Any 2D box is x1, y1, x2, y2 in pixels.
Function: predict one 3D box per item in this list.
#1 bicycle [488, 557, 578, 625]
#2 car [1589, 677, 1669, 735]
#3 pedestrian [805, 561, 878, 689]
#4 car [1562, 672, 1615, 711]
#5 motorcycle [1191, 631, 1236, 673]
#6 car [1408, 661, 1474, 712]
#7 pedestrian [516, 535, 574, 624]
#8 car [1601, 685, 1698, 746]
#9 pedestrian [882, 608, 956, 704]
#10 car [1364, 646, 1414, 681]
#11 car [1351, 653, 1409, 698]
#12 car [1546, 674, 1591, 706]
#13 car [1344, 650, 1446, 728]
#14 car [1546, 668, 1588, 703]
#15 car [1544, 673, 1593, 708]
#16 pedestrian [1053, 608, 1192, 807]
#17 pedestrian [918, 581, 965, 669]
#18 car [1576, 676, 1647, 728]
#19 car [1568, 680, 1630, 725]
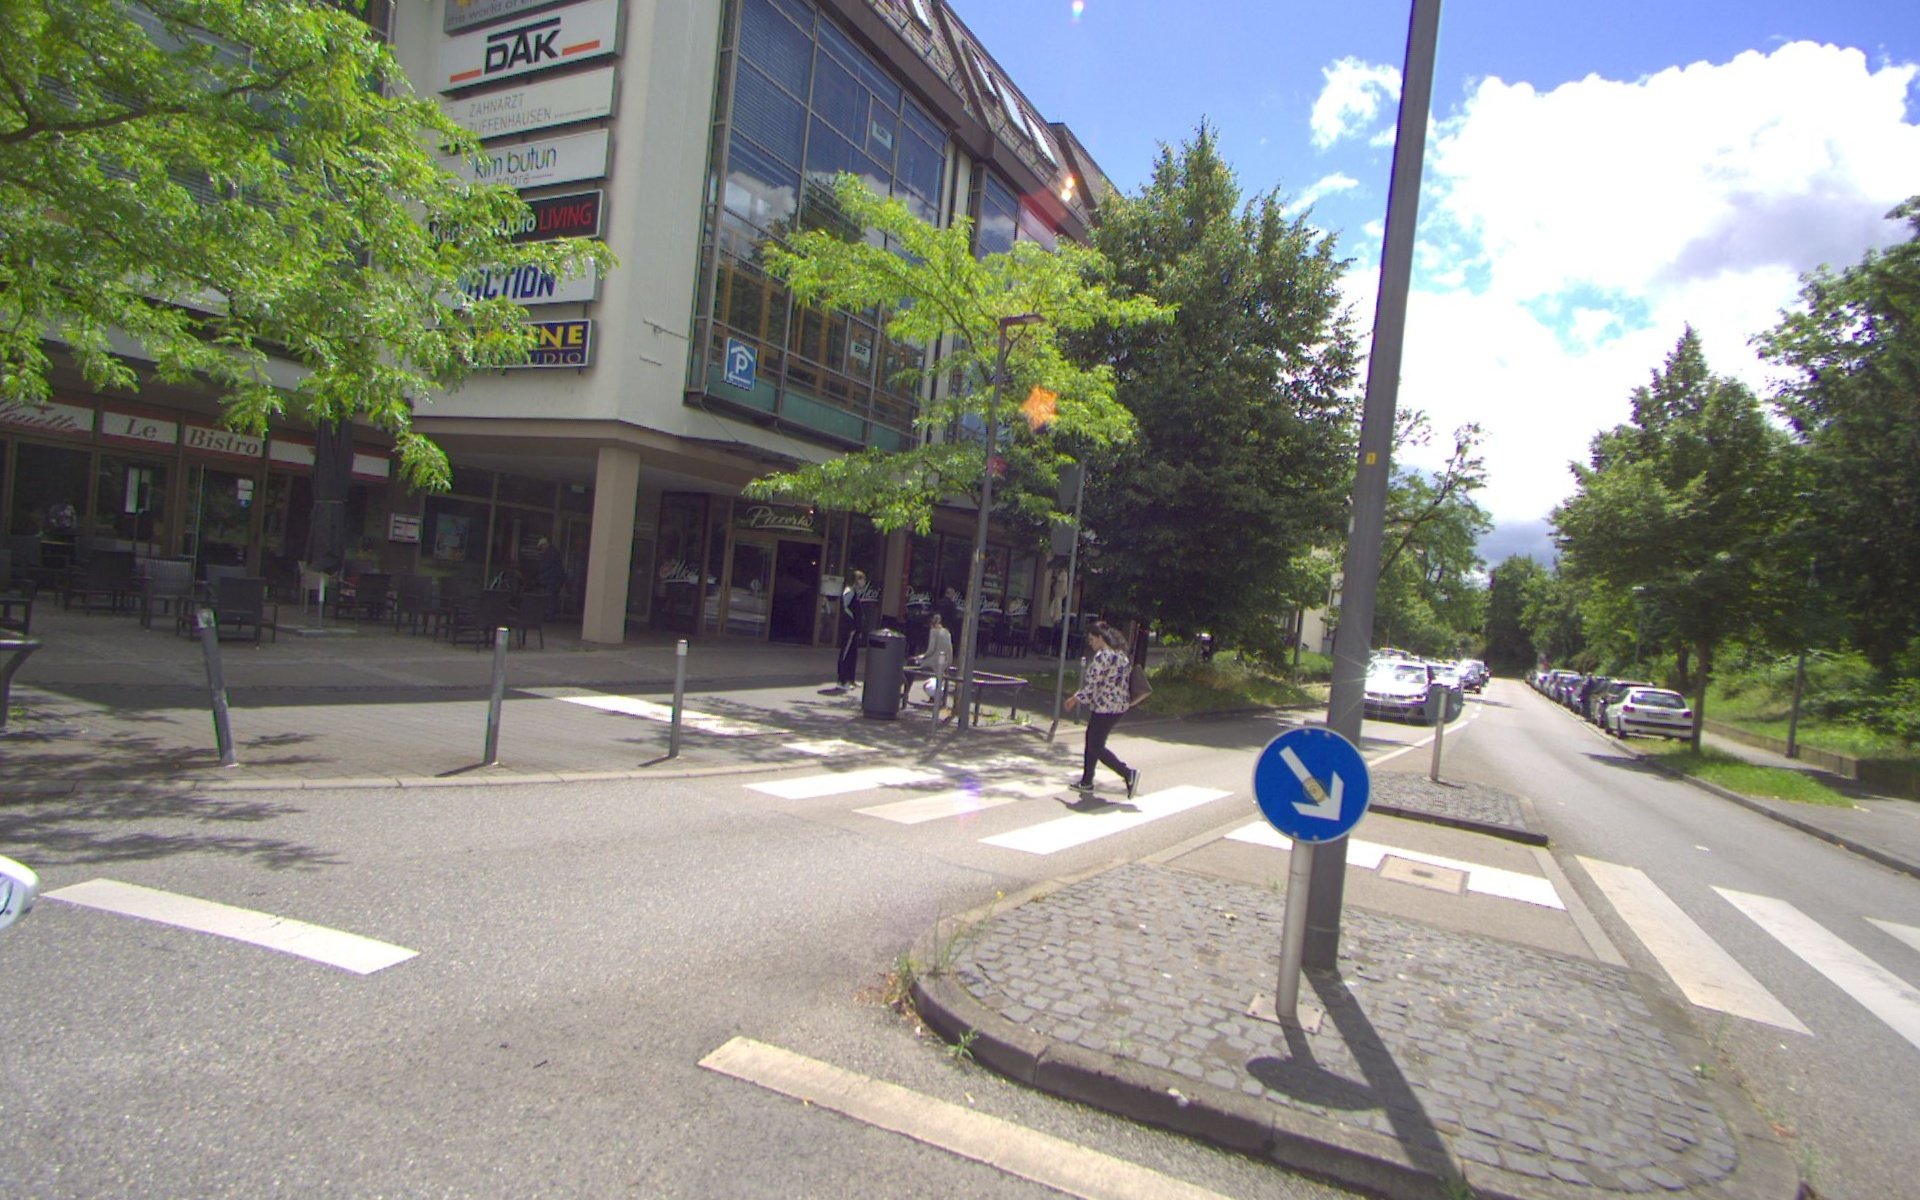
[{"bbox_3d":[-8.584,-0.176,20.284,1.521,1.182,0.494,7,0,-20],"label":"bicycle"},{"bbox_3d":[21.661,3.397,32.649,1.903,1.504,3.990,7,0,33],"label":"car"},{"bbox_3d":[-1.799,0.378,15.299,0.686,1.842,0.616,8,2,32],"label":"pedestrian"},{"bbox_3d":[29.979,4.363,47.961,1.903,1.504,3.990,7,0,33],"label":"car"},{"bbox_3d":[8.576,1.759,33.963,0.843,1.308,2.182,7,1,29],"label":"motorcycle"},{"bbox_3d":[17.961,3.181,37.687,1.964,1.526,4.581,7,-1,25],"label":"car"},{"bbox_3d":[-8.388,-0.406,20.327,0.606,1.695,0.697,8,1,26],"label":"pedestrian"},{"bbox_3d":[18.956,3.117,27.819,1.728,1.346,3.993,4,-2,29],"label":"car"},{"bbox_3d":[-0.594,0.816,14.615,0.687,1.301,0.615,8,1,39],"label":"pedestrian"},{"bbox_3d":[22.495,3.333,52.681,1.965,1.526,4.580,7,0,27],"label":"car"},{"bbox_3d":[17.678,3.145,42.236,1.964,1.526,4.582,7,0,25],"label":"car"},{"bbox_3d":[34.600,5.084,57.124,1.903,1.504,3.990,7,0,33],"label":"car"},{"bbox_3d":[10.895,2.159,25.000,1.965,1.526,4.580,6,-1,27],"label":"car"},{"bbox_3d":[37.813,5.333,62.630,1.903,1.826,3.990,8,0,33],"label":"car"},{"bbox_3d":[31.721,4.696,52.384,1.903,1.504,3.990,7,0,33],"label":"car"},{"bbox_3d":[1.390,0.909,8.744,0.754,1.573,0.776,7,1,-16],"label":"pedestrian"},{"bbox_3d":[-0.373,0.512,20.610,0.605,1.695,0.698,7,1,14],"label":"pedestrian"},{"bbox_3d":[23.628,3.640,36.525,1.903,1.505,3.989,7,1,33],"label":"car"},{"bbox_3d":[26.500,4.217,41.697,1.903,1.504,3.990,7,0,33],"label":"car"}]
